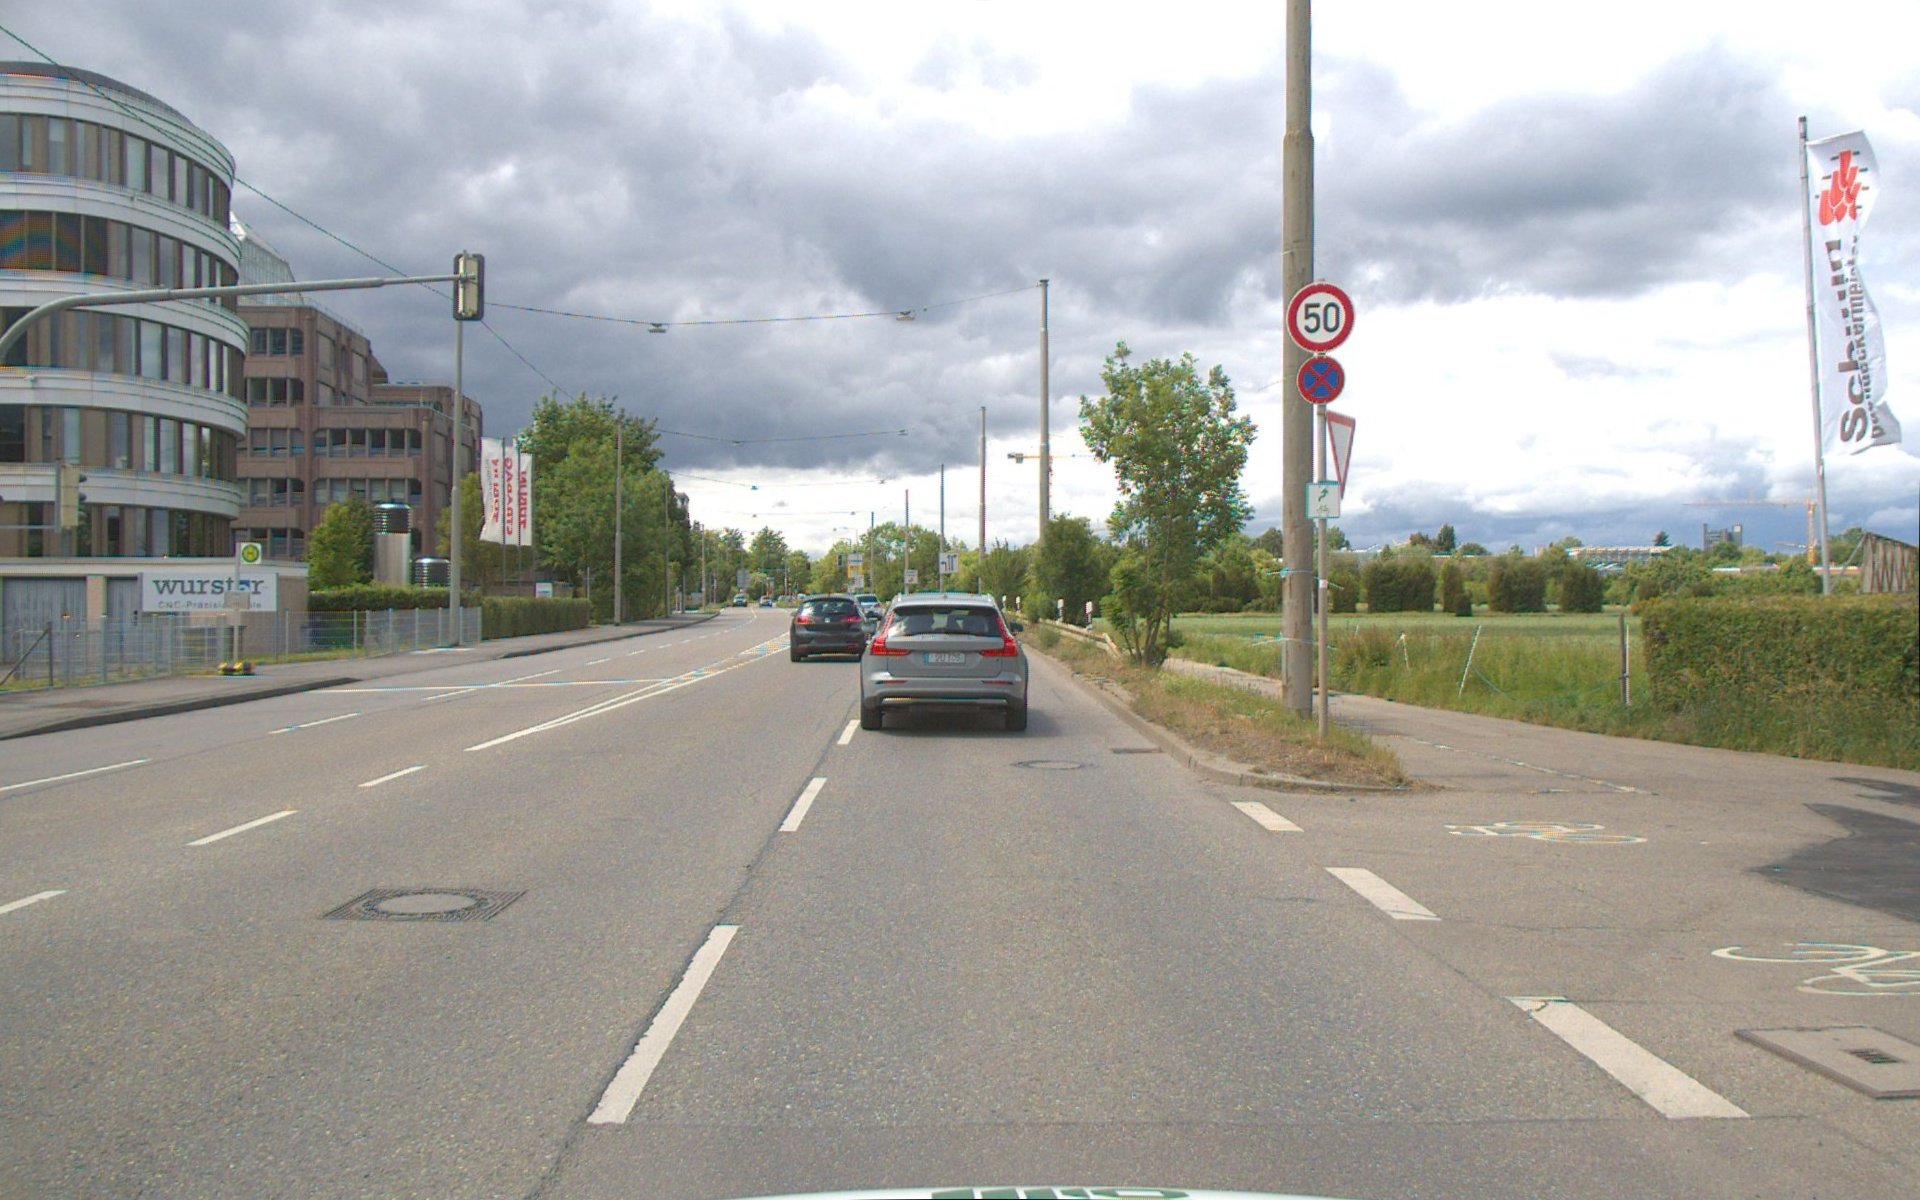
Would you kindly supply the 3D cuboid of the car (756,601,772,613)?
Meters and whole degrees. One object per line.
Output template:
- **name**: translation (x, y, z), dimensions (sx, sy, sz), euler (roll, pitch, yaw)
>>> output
- **car**: translation (-25.399, 0.911, 214.569), dimensions (1.844, 1.547, 3.997), euler (2, -1, -3)

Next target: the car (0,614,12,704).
- **car**: translation (-16.780, 1.121, 24.813), dimensions (3.910, 1.393, 1.847), euler (-6, 0, -4)

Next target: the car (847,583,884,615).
- **car**: translation (-5.367, -0.062, 94.301), dimensions (1.953, 1.724, 3.998), euler (2, -1, -2)

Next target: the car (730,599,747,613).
- **car**: translation (-28.961, 0.751, 216.455), dimensions (1.844, 1.747, 3.997), euler (2, -1, -3)

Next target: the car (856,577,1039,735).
- **car**: translation (-0.138, 0.603, 19.094), dimensions (1.857, 1.581, 3.999), euler (1, -1, 0)

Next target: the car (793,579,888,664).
- **car**: translation (-2.652, 0.484, 37.038), dimensions (1.954, 1.747, 3.997), euler (2, -1, -4)
